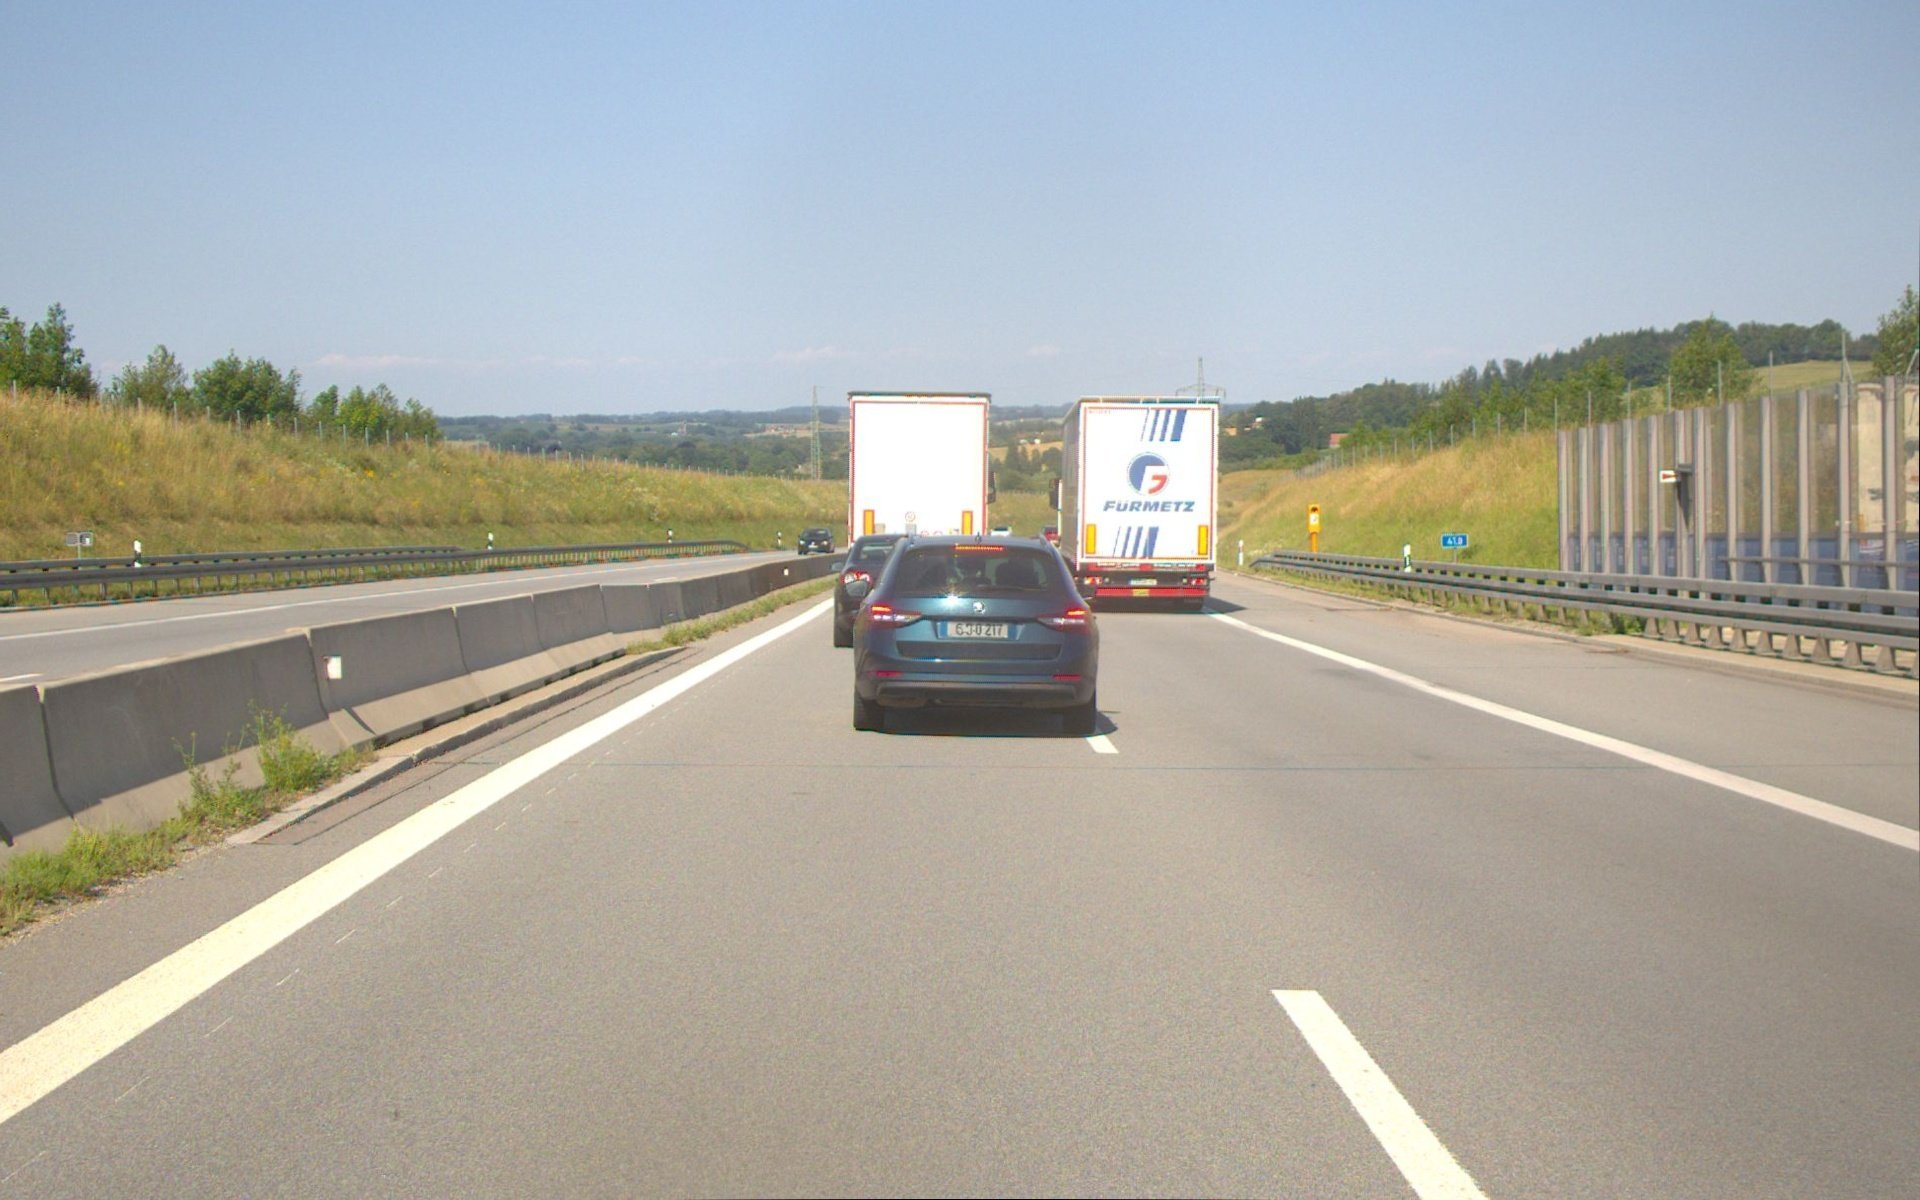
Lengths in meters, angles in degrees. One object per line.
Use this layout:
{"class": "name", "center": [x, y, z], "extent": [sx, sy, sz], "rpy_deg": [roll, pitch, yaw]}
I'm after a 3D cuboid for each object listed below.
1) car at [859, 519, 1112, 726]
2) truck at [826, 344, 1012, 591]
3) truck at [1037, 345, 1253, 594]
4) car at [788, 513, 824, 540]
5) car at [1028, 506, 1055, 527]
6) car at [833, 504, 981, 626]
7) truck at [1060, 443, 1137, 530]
{"class": "car", "center": [0.145, 0.116, 26.064], "extent": [1.776, 1.436, 3.789], "rpy_deg": [0, 2, -1]}
{"class": "truck", "center": [-0.666, -2.587, 68.245], "extent": [3.211, 4.366, 11.234], "rpy_deg": [-2, 2, 1]}
{"class": "truck", "center": [3.495, -2.538, 68.130], "extent": [3.604, 4.366, 11.234], "rpy_deg": [-2, 2, 1]}
{"class": "car", "center": [-8.502, -4.081, 190.096], "extent": [1.746, 1.351, 4.000], "rpy_deg": [-2, 2, 1]}
{"class": "car", "center": [5.630, -5.776, 236.669], "extent": [1.700, 1.436, 4.001], "rpy_deg": [0, 2, -1]}
{"class": "car", "center": [-0.734, -0.487, 44.598], "extent": [1.700, 1.436, 4.001], "rpy_deg": [-3, 2, -3]}
{"class": "truck", "center": [7.384, -6.104, 185.126], "extent": [3.604, 4.366, 11.234], "rpy_deg": [-2, 2, 1]}
